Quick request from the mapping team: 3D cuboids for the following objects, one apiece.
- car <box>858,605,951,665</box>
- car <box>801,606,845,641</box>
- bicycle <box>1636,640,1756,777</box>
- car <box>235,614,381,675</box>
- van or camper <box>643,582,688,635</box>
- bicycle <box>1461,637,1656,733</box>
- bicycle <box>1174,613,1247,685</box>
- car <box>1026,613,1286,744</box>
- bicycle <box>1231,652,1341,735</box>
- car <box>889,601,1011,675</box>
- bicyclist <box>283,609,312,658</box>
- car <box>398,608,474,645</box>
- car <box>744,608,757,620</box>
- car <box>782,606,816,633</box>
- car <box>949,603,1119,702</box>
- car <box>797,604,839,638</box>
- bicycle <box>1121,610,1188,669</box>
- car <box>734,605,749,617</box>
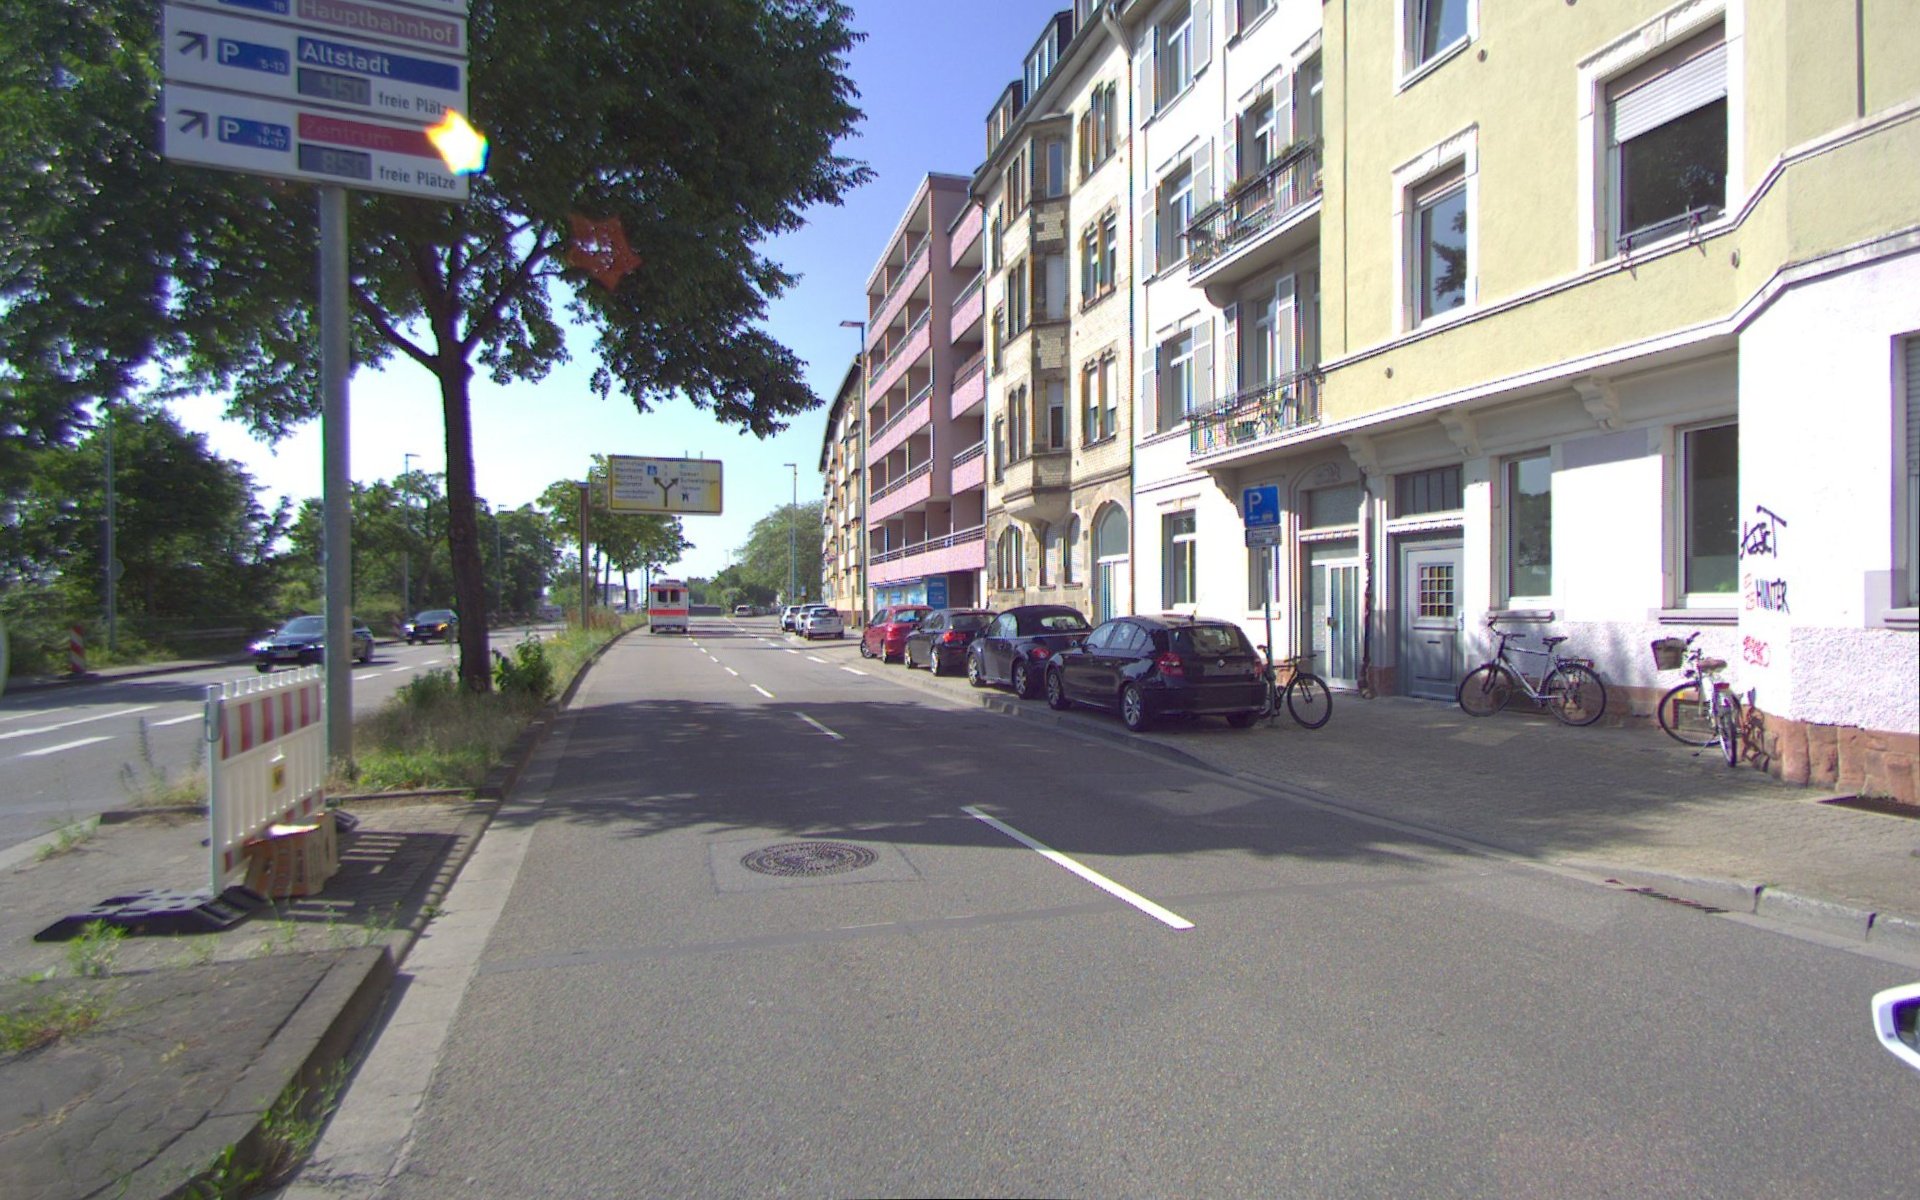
[{"bbox_3d":[-1.610,0.913,27.888,1.761,1.502,3.987,-1,0,-15],"label":"car"},{"bbox_3d":[-6.227,1.031,45.409,1.654,1.427,3.422,-2,0,-12],"label":"car"},{"bbox_3d":[6.857,0.957,9.436,0.528,1.060,1.826,-1,1,24],"label":"bicycle"},{"bbox_3d":[-17.852,1.155,27.797,1.966,1.430,4.602,-2,0,-14],"label":"car"},{"bbox_3d":[-16.505,0.458,56.548,2.265,2.826,5.554,0,0,-15],"label":"van or camper"},{"bbox_3d":[7.092,0.961,12.044,0.600,0.958,2.105,-2,0,-19],"label":"bicycle"},{"bbox_3d":[4.727,0.905,19.037,0.559,1.196,1.619,-2,3,-19],"label":"bicycle"},{"bbox_3d":[2.459,0.929,13.715,1.718,1.435,4.065,-1,0,-18],"label":"car"},{"bbox_3d":[4.119,1.161,12.809,0.442,0.903,1.574,-2,0,-20],"label":"bicycle"},{"bbox_3d":[-0.332,0.805,22.959,1.621,1.472,4.110,-1,0,-18],"label":"car"},{"bbox_3d":[-21.522,1.083,32.648,0.565,1.554,0.776,0,0,-15],"label":"bicyclist"},{"bbox_3d":[-24.078,1.165,46.299,1.966,1.549,4.685,-2,0,-14],"label":"car"},{"bbox_3d":[-28.911,1.954,138.729,1.746,1.600,4.177,0,0,-12],"label":"car"},{"bbox_3d":[-9.612,1.139,59.753,1.732,1.526,4.117,1,-1,-13],"label":"car"},{"bbox_3d":[1.188,0.848,17.965,1.621,1.521,3.994,-1,0,-18],"label":"car"},{"bbox_3d":[-7.127,1.018,50.152,1.712,1.562,4.343,-1,0,-13],"label":"car"},{"bbox_3d":[4.109,0.812,21.339,0.647,1.161,1.619,-2,1,-19],"label":"bicycle"},{"bbox_3d":[-27.981,1.418,128.578,1.595,1.525,3.456,1,0,-9],"label":"car"}]
